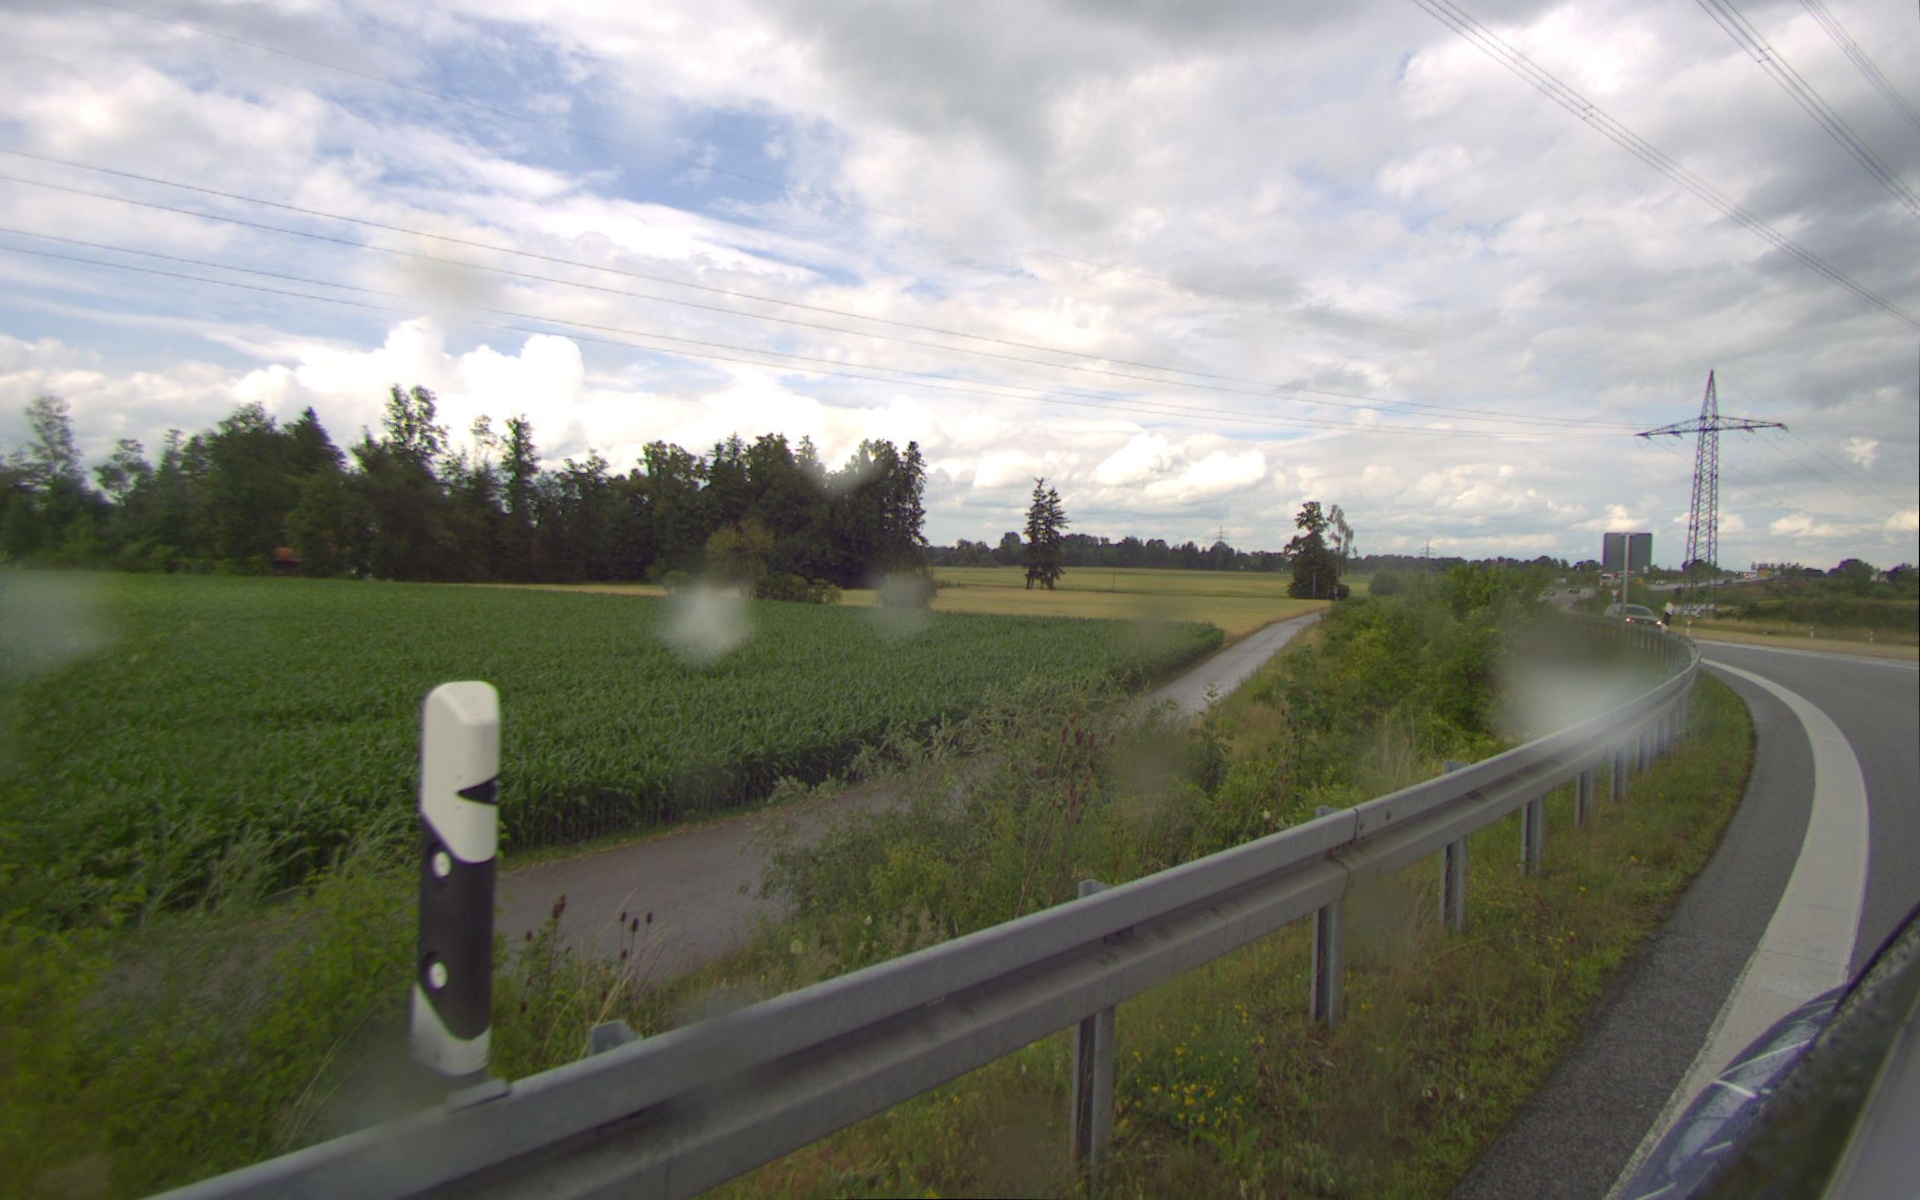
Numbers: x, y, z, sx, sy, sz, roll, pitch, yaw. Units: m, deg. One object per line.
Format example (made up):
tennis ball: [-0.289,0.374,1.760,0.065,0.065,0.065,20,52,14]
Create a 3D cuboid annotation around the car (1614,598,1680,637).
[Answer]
car: [33.787,0.837,49.863,1.978,1.774,3.967,1,1,24]
